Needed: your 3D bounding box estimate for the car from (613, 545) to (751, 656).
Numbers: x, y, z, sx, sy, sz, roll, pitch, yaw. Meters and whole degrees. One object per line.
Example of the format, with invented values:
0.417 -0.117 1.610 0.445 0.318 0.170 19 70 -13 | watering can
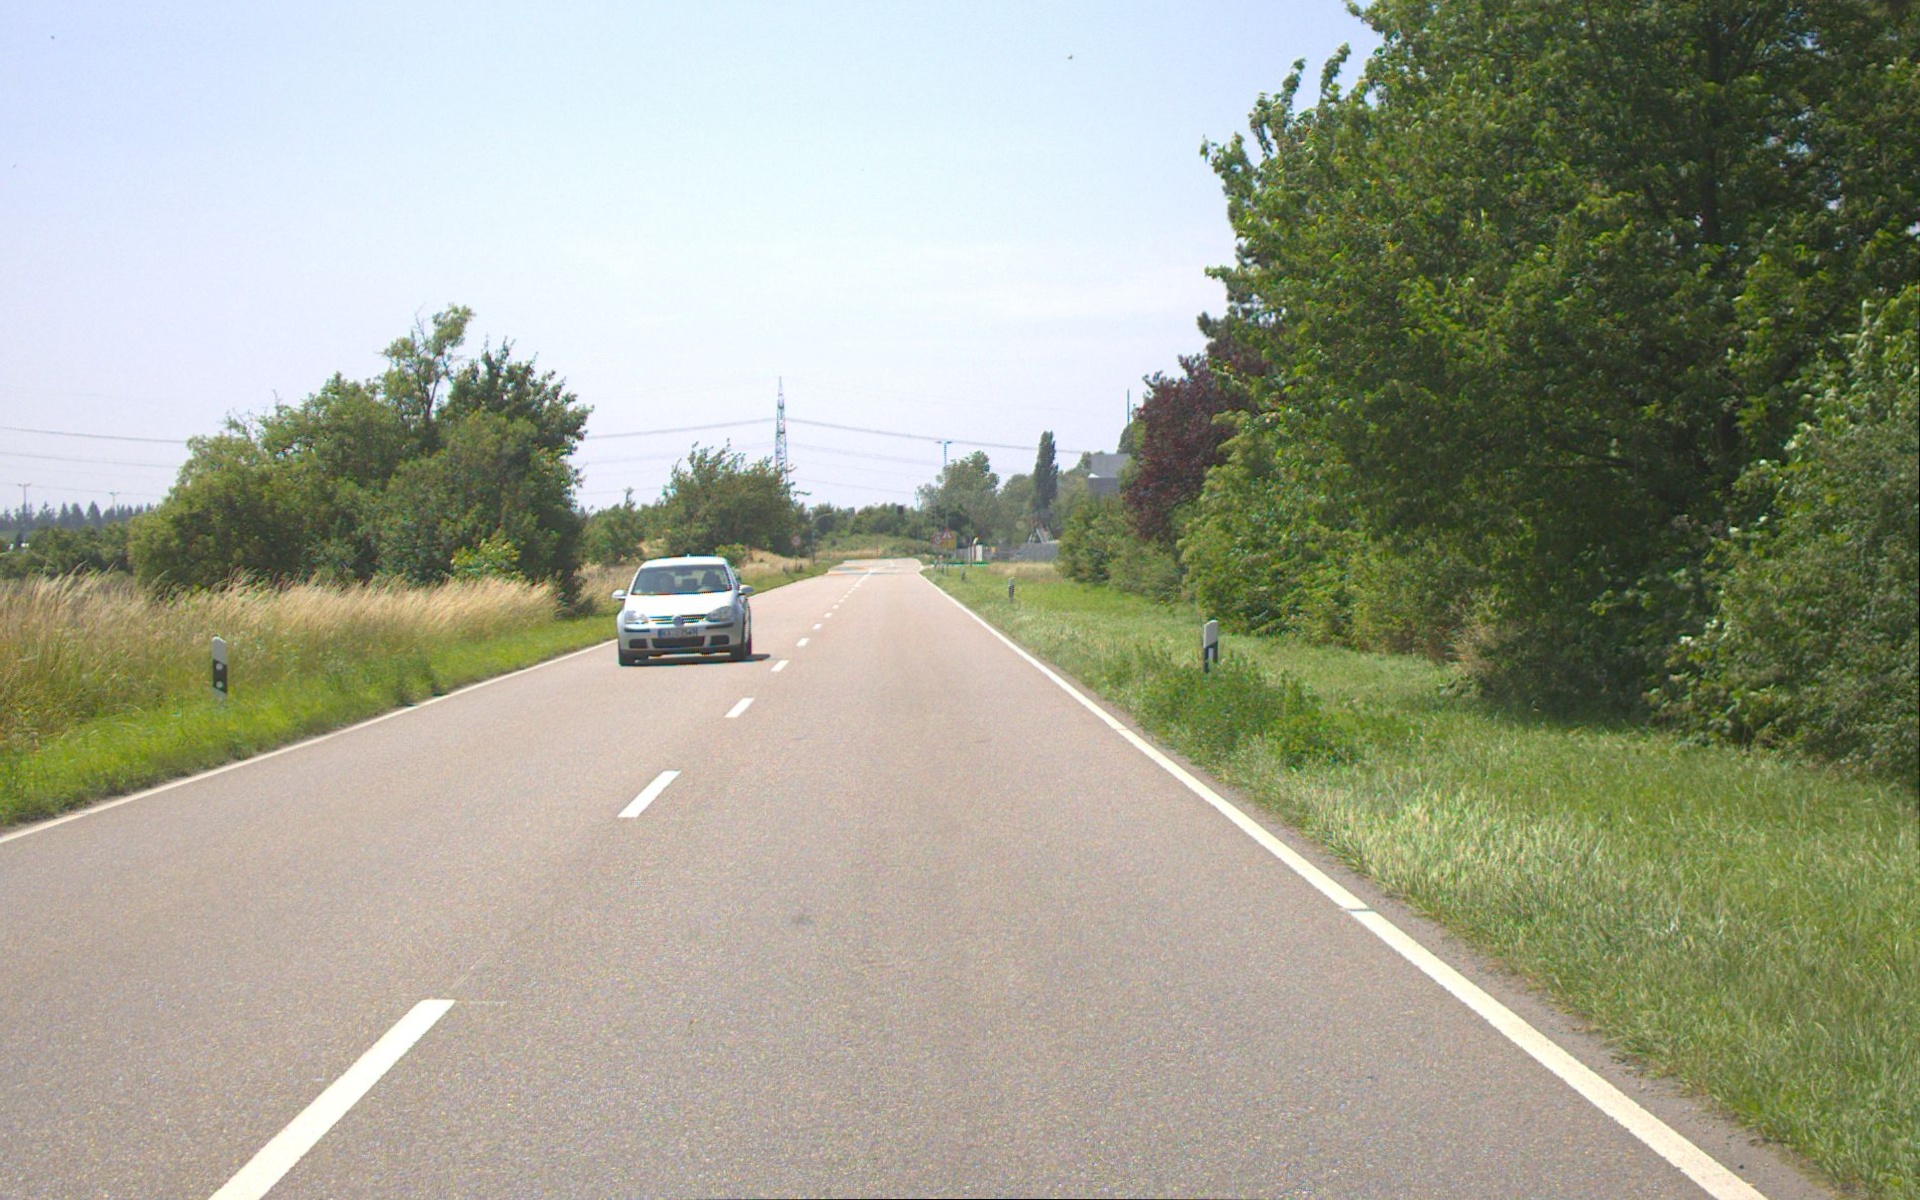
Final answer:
-3.897 -0.027 48.731 1.678 1.416 4.422 -3 1 -2 | car
